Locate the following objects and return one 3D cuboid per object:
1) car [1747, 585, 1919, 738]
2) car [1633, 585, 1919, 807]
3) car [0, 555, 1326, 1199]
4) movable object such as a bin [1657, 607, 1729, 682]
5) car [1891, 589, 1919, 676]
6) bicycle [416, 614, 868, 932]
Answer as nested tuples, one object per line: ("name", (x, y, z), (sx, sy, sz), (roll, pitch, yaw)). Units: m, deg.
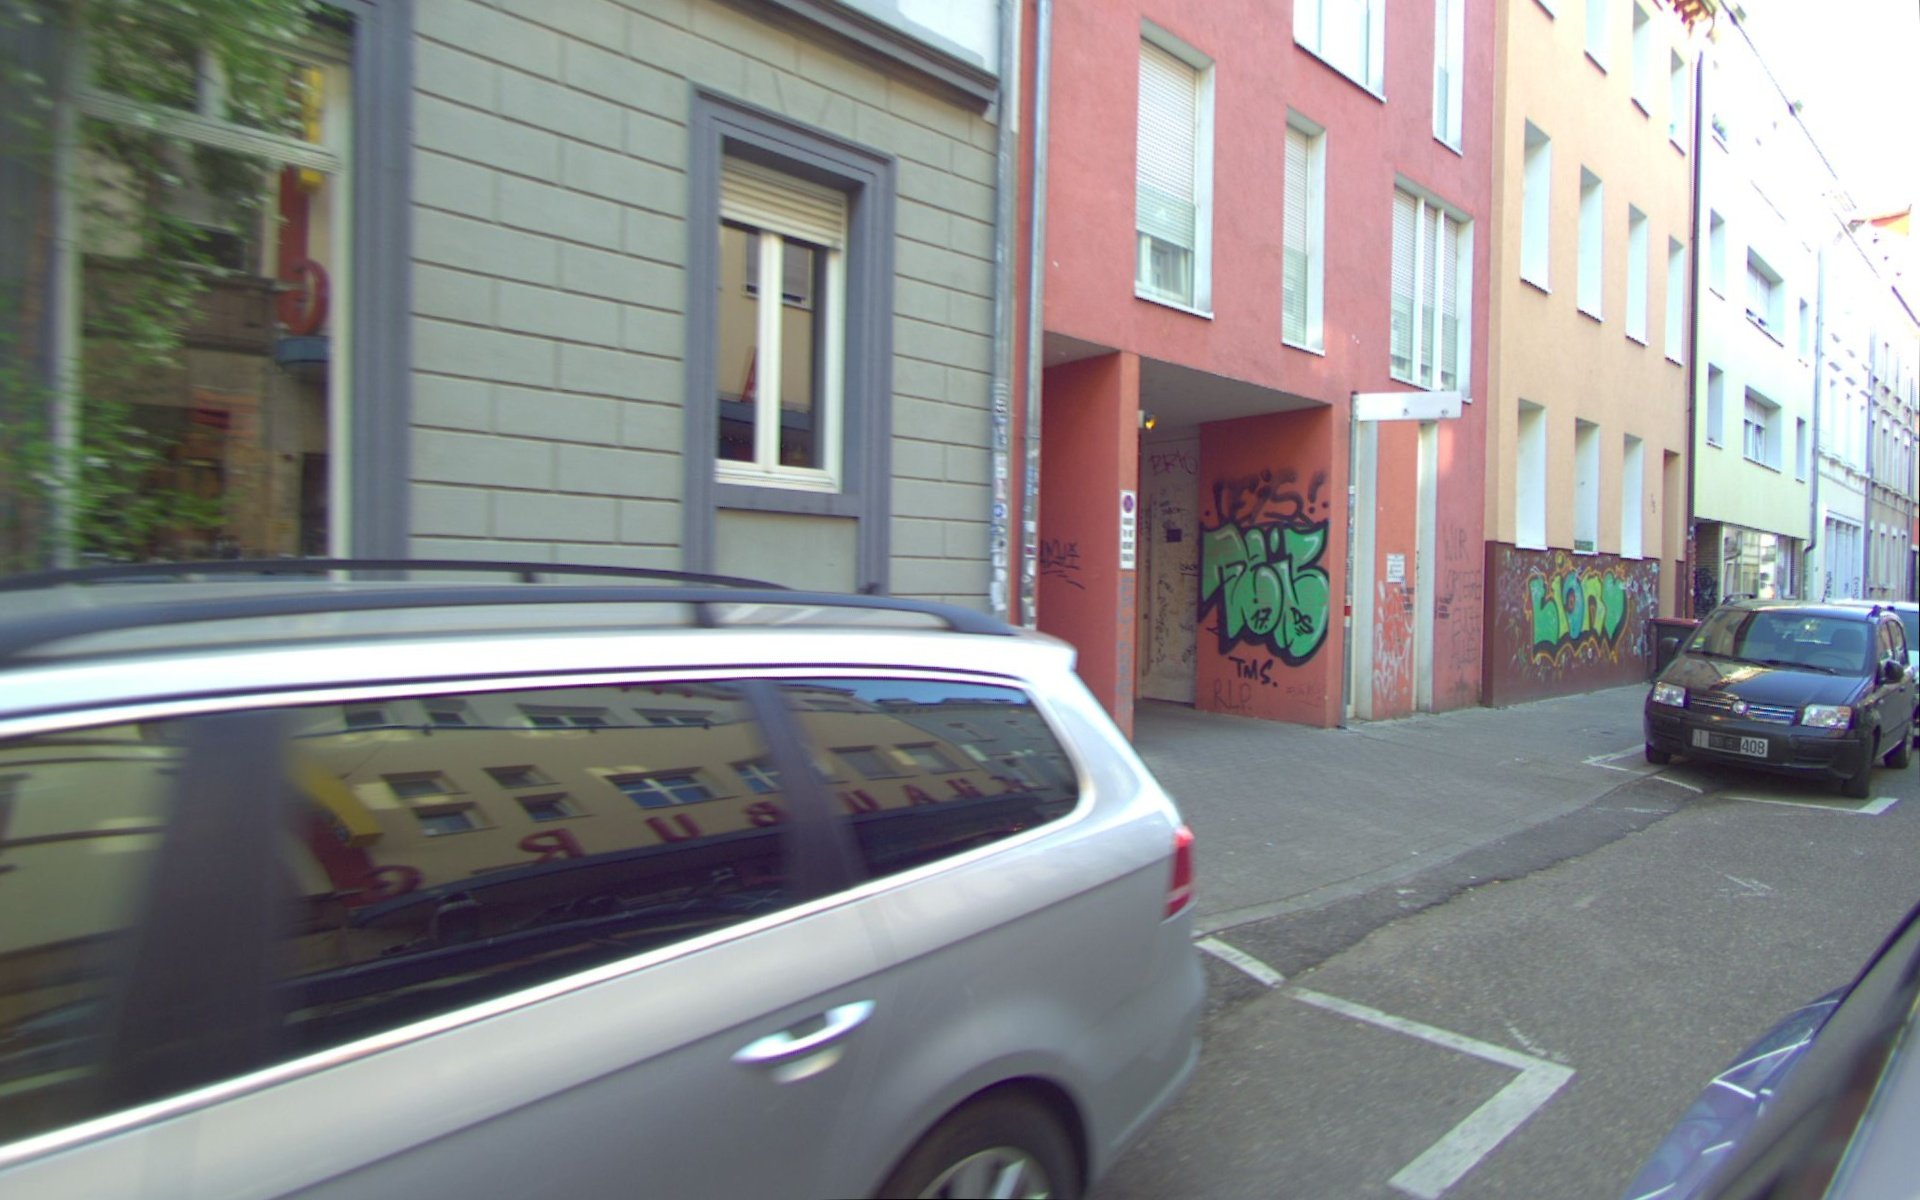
("car", (11.235, 0.635, 12.324), (4.097, 1.575, 1.750), (0, 1, -40))
("car", (7.676, 0.702, 9.208), (3.388, 1.558, 1.606), (0, 4, -40))
("car", (-1.471, 0.708, 1.490), (4.468, 1.471, 1.790), (0, 4, -41))
("movable object such as a bin", (11.302, 0.662, 15.613), (0.723, 1.070, 0.694), (0, 3, -40))
("car", (19.032, 0.610, 19.014), (3.909, 1.542, 1.701), (0, 2, -40))
("bicycle", (-1.400, 0.668, 4.706), (1.869, 1.110, 0.711), (-1, 4, -43))
